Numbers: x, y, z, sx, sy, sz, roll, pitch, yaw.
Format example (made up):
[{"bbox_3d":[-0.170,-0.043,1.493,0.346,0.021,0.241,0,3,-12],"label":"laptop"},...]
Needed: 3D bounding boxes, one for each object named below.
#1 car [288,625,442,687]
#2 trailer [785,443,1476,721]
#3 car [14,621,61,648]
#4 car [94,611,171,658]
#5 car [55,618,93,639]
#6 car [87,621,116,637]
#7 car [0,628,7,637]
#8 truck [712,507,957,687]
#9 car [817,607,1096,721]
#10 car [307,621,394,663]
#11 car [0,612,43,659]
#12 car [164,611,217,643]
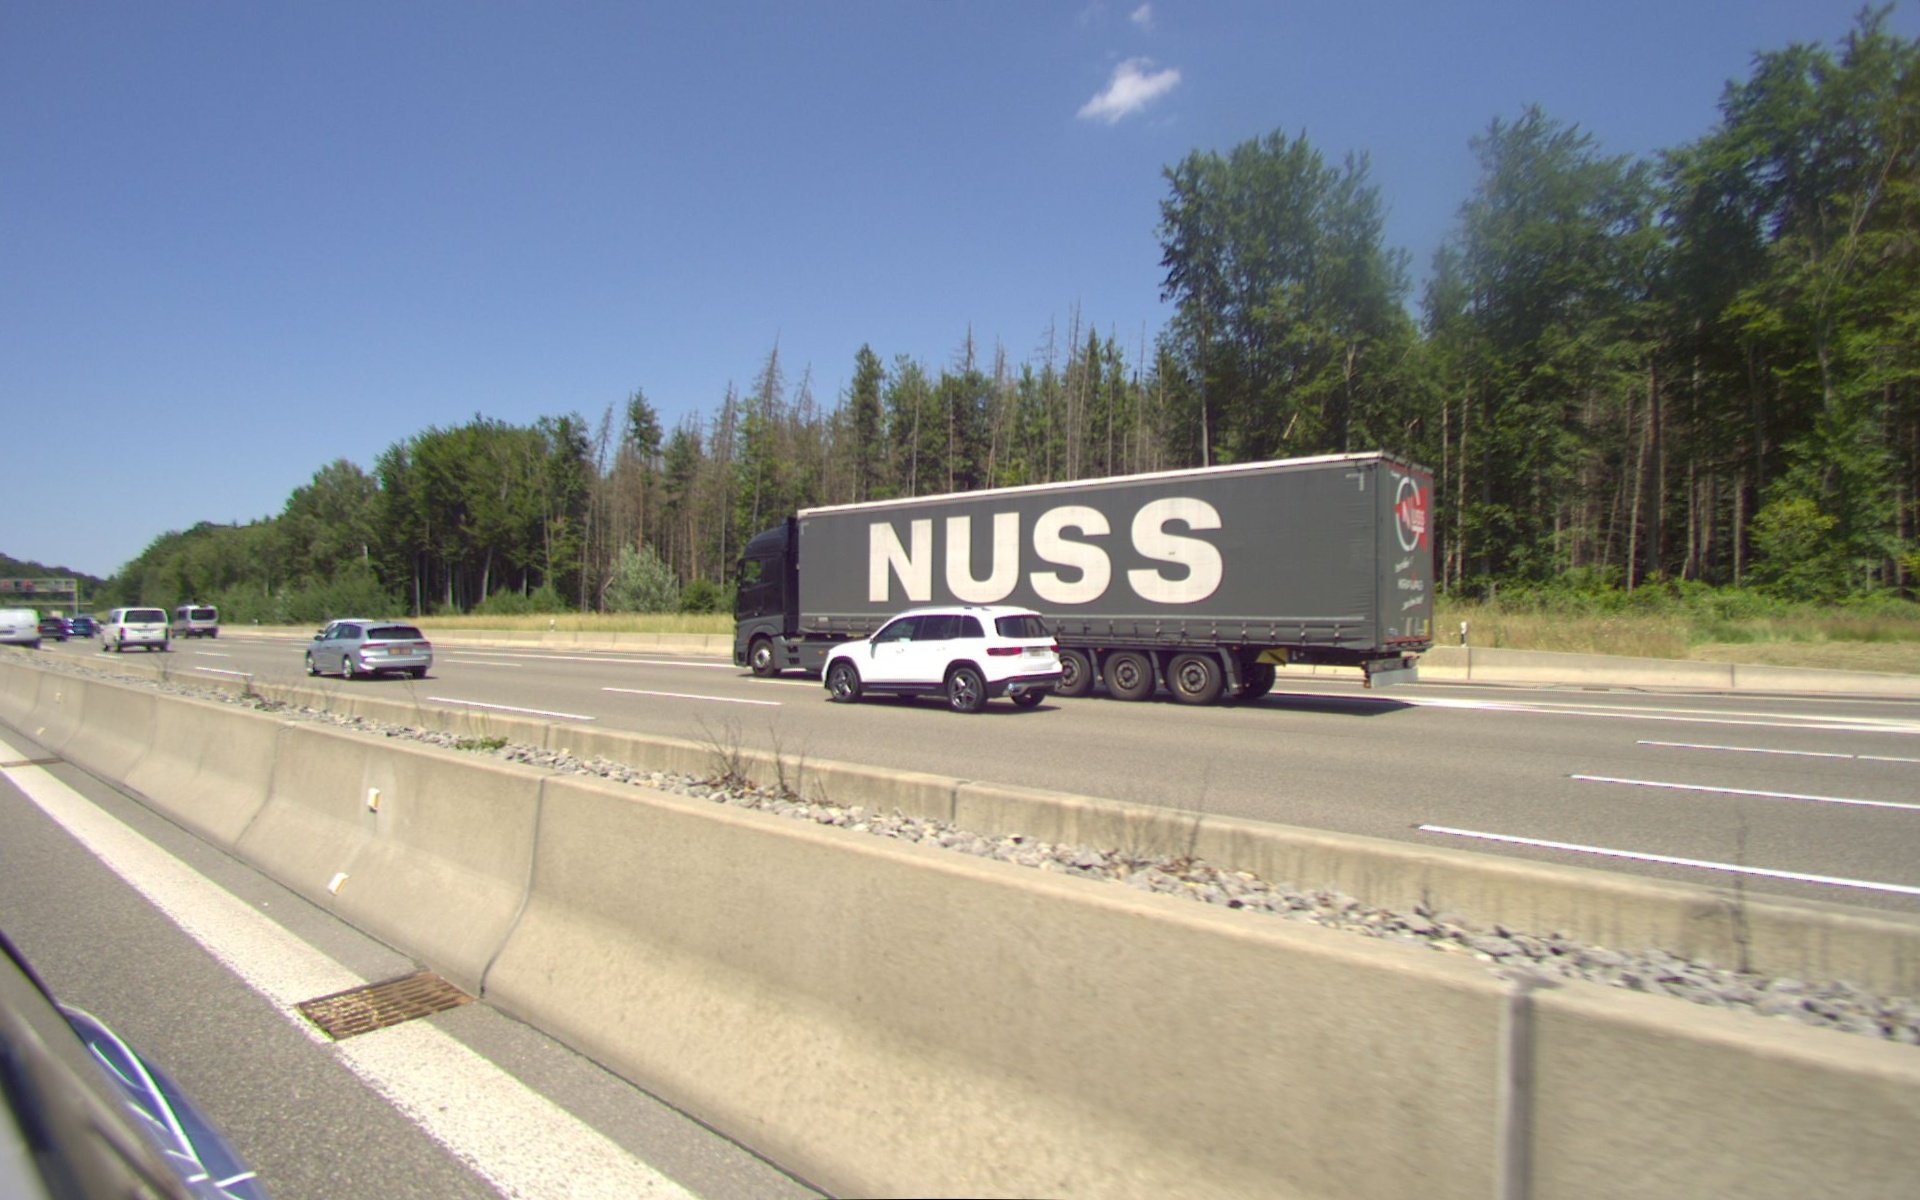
[{"bbox_3d":[-15.273,1.347,25.849,5.009,1.387,1.972,-1,-1,42],"label":"car"},{"bbox_3d":[2.290,-0.141,20.625,14.271,4.032,3.307,-1,-1,41],"label":"trailer"},{"bbox_3d":[-61.709,2.293,67.642,5.001,1.712,1.808,-1,-2,42],"label":"car"},{"bbox_3d":[-37.931,1.530,46.366,5.128,2.029,1.972,-1,-1,42],"label":"car"},{"bbox_3d":[-69.839,2.249,79.756,4.671,1.582,1.711,-1,-2,42],"label":"car"},{"bbox_3d":[-87.618,2.964,103.281,3.862,1.582,1.711,-1,-1,42],"label":"car"},{"bbox_3d":[-148.560,5.027,156.155,4.782,1.475,1.711,-1,-2,42],"label":"car"},{"bbox_3d":[-3.220,-0.016,25.375,5.536,3.960,3.253,-1,-1,41],"label":"truck"},{"bbox_3d":[-0.167,0.988,17.185,4.610,1.683,1.973,-1,-1,41],"label":"car"},{"bbox_3d":[-23.166,1.566,38.409,3.809,1.497,1.786,-1,-1,41],"label":"car"},{"bbox_3d":[-44.637,1.629,47.284,5.709,2.059,2.055,-1,-1,42],"label":"car"},{"bbox_3d":[-59.878,2.112,78.713,6.341,2.431,1.928,-1,-2,40],"label":"car"}]
